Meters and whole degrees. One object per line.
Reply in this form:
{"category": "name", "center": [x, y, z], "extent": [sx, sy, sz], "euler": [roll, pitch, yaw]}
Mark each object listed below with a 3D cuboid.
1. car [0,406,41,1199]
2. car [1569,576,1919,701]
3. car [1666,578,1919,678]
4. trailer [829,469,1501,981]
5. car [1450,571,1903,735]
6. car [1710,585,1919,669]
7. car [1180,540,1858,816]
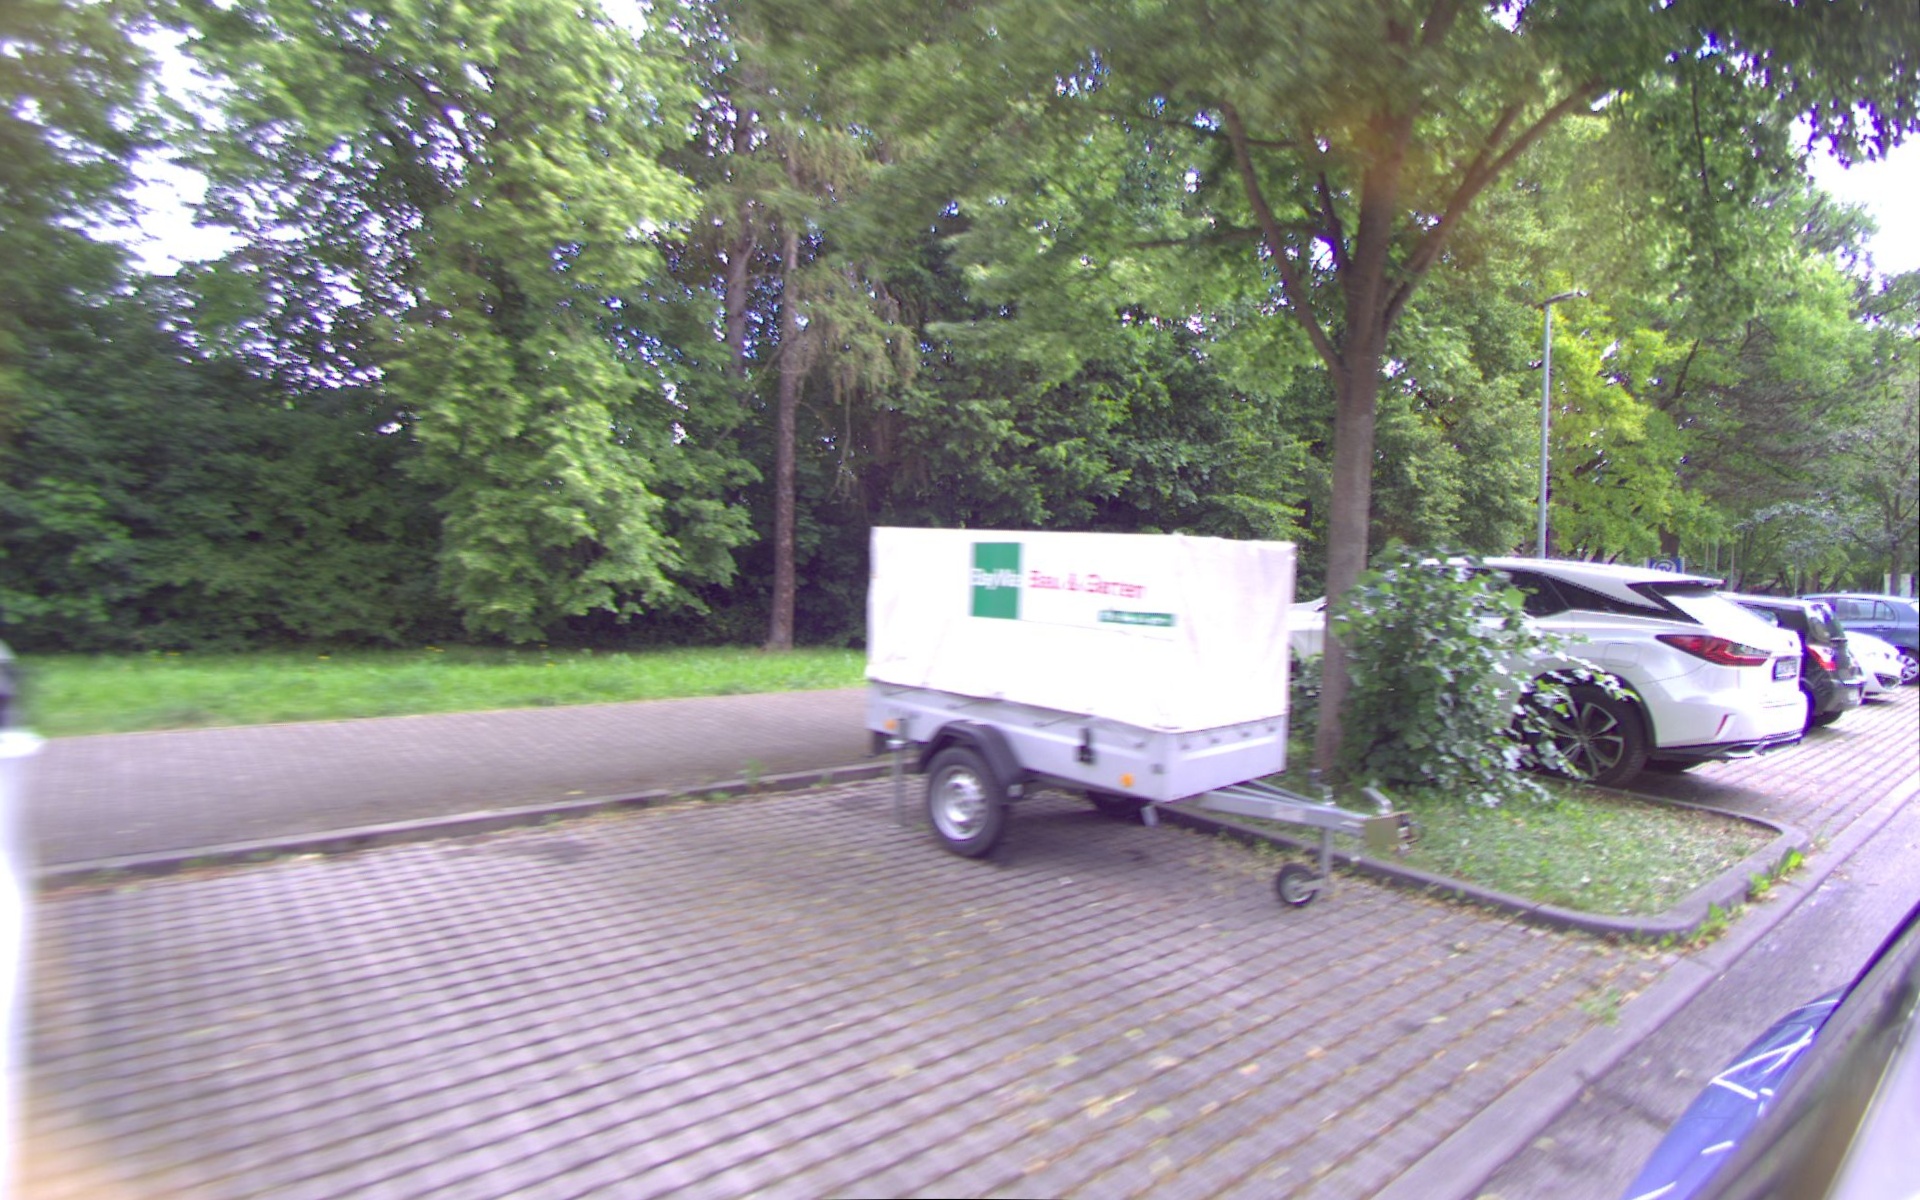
{"category": "car", "center": [-2.999, 0.484, 1.940], "extent": [1.829, 1.567, 4.119], "euler": [0, 3, -42]}
{"category": "car", "center": [11.993, 0.472, 15.575], "extent": [1.756, 1.590, 4.163], "euler": [0, 2, -44]}
{"category": "car", "center": [15.687, 0.450, 18.600], "extent": [1.755, 1.590, 4.142], "euler": [0, 2, -41]}
{"category": "trailer", "center": [0.850, 0.359, 5.217], "extent": [1.537, 1.812, 3.034], "euler": [0, 3, -42]}
{"category": "car", "center": [8.538, 0.489, 12.397], "extent": [1.817, 1.590, 4.170], "euler": [0, 2, -38]}
{"category": "car", "center": [17.730, 0.492, 20.238], "extent": [1.755, 1.482, 4.093], "euler": [0, 2, -41]}
{"category": "car", "center": [4.468, 0.382, 8.934], "extent": [1.937, 1.714, 4.834], "euler": [0, 3, -37]}
